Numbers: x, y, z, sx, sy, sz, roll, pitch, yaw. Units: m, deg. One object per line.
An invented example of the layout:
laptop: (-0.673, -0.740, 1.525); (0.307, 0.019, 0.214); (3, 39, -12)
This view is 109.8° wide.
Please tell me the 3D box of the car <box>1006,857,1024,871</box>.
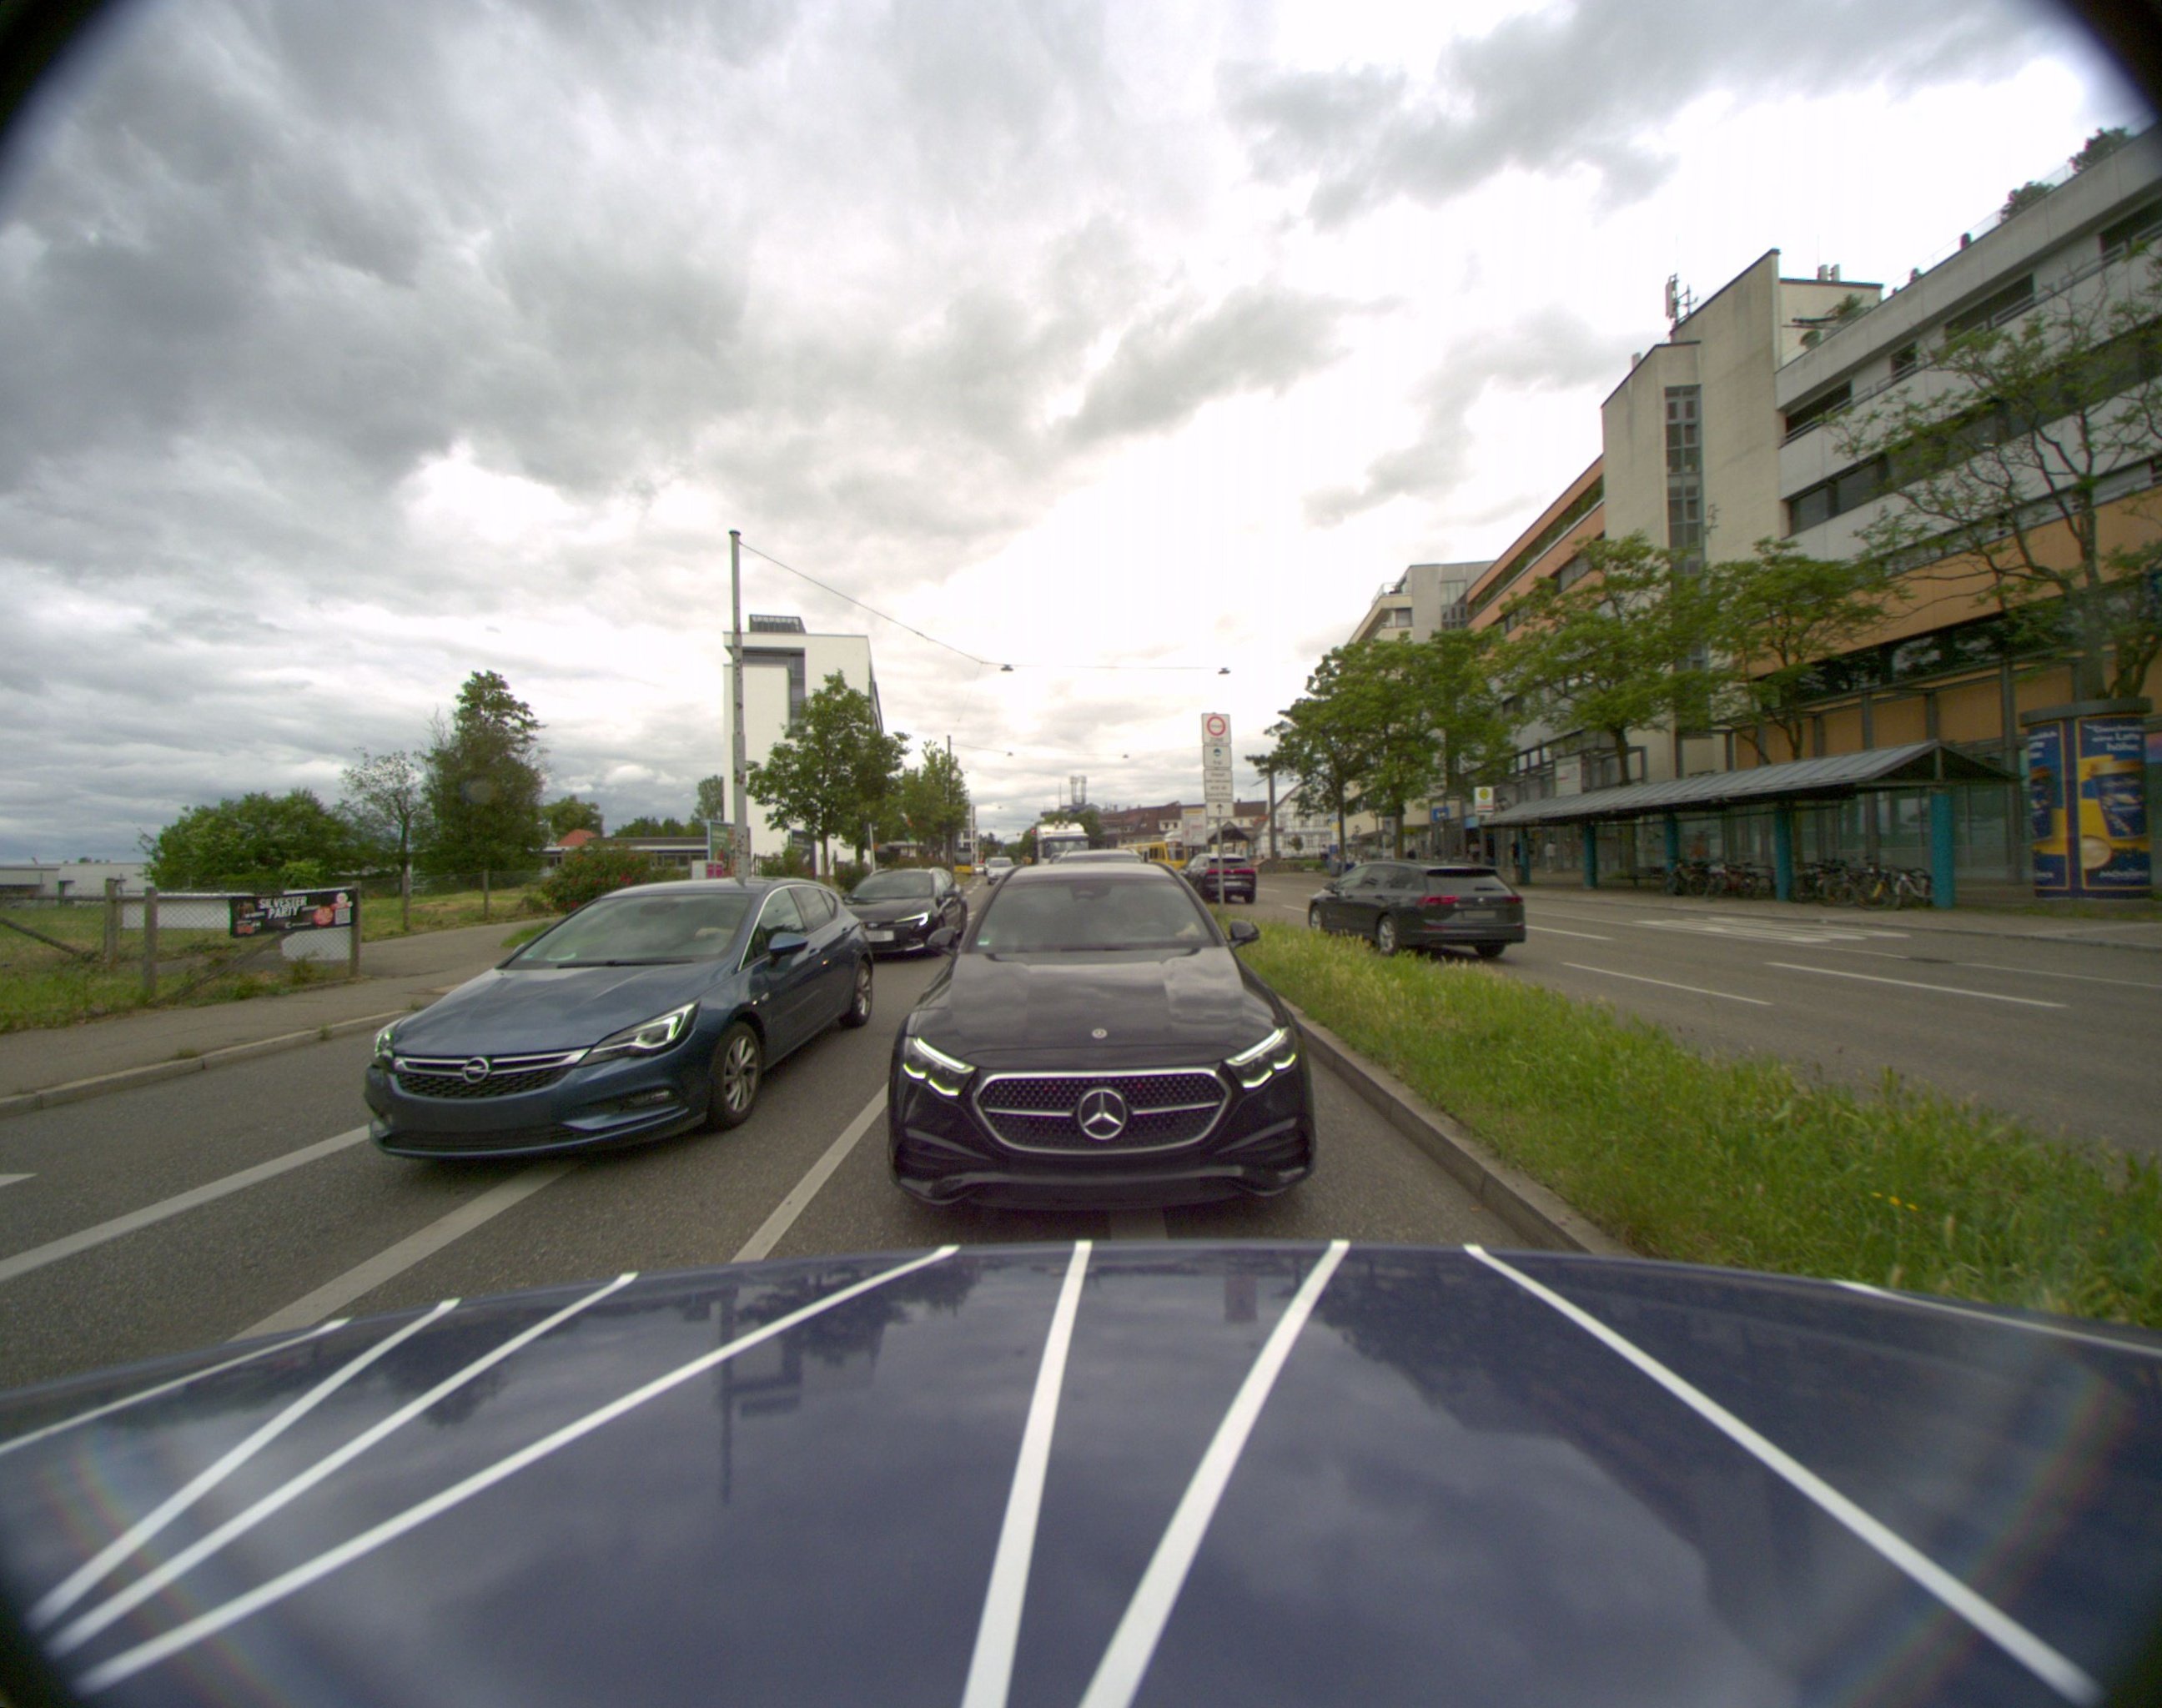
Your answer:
car: (-8.721, 1.260, 100.400); (2.000, 1.674, 3.997); (-4, 1, -8)

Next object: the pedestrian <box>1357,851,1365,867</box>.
pedestrian: (25.571, 0.482, 69.445); (0.555, 1.485, 0.454); (-1, 1, 8)

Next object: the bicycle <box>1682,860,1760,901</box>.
bicycle: (18.290, 0.743, 21.739); (1.735, 1.035, 0.549); (-4, 1, -2)

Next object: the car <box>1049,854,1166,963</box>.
car: (0.399, 0.821, 13.479); (1.734, 1.601, 4.000); (-2, 0, 0)

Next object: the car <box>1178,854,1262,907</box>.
car: (4.443, 0.782, 24.866); (1.840, 1.512, 4.070); (0, 1, -3)

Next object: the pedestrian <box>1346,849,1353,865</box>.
pedestrian: (19.485, 0.225, 55.150); (0.341, 1.172, 0.369); (-1, 1, -9)

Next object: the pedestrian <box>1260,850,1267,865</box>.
pedestrian: (19.255, 0.367, 80.150); (0.577, 1.533, 0.583); (-1, 1, -8)

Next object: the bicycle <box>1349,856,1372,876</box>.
bicycle: (15.487, 0.656, 42.013); (0.593, 1.071, 2.041); (0, 1, 38)

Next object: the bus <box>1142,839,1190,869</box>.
bus: (8.709, 0.007, 79.011); (2.556, 2.966, 8.498); (-1, 0, -11)

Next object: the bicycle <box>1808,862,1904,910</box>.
bicycle: (18.633, 0.752, 18.280); (1.735, 1.035, 0.549); (-3, 1, -2)

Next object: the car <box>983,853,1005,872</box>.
car: (-9.267, 0.897, 80.518); (1.853, 1.875, 4.132); (-3, 0, -11)

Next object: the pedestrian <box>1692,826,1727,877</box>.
pedestrian: (25.245, -0.107, 30.543); (0.710, 2.002, 0.793); (-2, 1, -11)

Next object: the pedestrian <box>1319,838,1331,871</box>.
pedestrian: (16.744, 0.034, 52.100); (0.590, 2.294, 0.608); (-1, 1, -2)

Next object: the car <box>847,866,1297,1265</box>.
car: (-0.046, 0.884, 5.187); (1.793, 1.507, 4.249); (-1, 0, 0)

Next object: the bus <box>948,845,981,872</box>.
bus: (-12.806, 0.394, 82.724); (2.969, 2.616, 12.137); (-2, 1, -11)

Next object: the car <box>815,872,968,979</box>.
car: (-3.117, 1.113, 13.299); (1.665, 1.448, 3.921); (-2, 0, 0)

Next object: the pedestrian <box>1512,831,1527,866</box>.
pedestrian: (25.944, -0.319, 44.918); (0.566, 2.002, 0.611); (-1, 1, 6)

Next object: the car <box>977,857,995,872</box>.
car: (-12.179, 1.278, 97.452); (2.000, 1.811, 3.996); (-1, 0, -10)

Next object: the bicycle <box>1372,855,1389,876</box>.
bicycle: (16.410, 0.623, 41.642); (0.593, 1.071, 2.041); (0, 1, 29)

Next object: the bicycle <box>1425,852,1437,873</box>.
bicycle: (19.495, 0.470, 42.381); (0.593, 1.119, 2.040); (0, 1, 24)

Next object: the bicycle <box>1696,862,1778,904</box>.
bicycle: (17.955, 0.790, 20.806); (1.735, 1.035, 0.549); (-3, 1, -2)

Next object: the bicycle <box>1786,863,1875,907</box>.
bicycle: (19.032, 0.774, 19.304); (1.735, 1.035, 0.549); (-2, 1, -2)

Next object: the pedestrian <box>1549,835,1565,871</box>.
pedestrian: (24.107, -0.047, 38.484); (0.648, 1.799, 0.761); (0, 1, 34)

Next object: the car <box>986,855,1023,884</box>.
car: (-4.703, 0.916, 47.193); (1.851, 1.606, 3.783); (-3, 0, 0)

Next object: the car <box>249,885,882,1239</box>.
car: (-2.907, 1.050, 5.524); (1.826, 1.402, 4.000); (-2, 0, 0)

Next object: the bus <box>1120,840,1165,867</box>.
bus: (6.945, -0.049, 87.947); (2.556, 2.966, 9.790); (-1, 0, -11)

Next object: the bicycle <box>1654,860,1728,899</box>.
bicycle: (18.212, 0.748, 22.699); (1.735, 1.035, 0.549); (-3, 1, -2)

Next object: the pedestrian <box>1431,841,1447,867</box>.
pedestrian: (24.182, -0.003, 51.343); (0.765, 1.673, 0.752); (-1, 1, 1)

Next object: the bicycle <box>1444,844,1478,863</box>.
bicycle: (27.765, -0.026, 55.547); (2.138, 1.358, 0.620); (-2, 1, 26)

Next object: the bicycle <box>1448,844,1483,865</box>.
bicycle: (27.002, 0.032, 53.396); (2.139, 1.367, 0.620); (-2, 1, 18)

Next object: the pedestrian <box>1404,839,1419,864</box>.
pedestrian: (24.446, -0.172, 56.176); (0.765, 1.835, 0.752); (-1, 1, 1)

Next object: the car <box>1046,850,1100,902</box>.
car: (-0.359, 0.745, 28.342); (1.865, 1.773, 3.999); (-1, 0, -2)

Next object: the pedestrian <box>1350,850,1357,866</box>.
pedestrian: (24.987, 0.340, 69.676); (0.555, 1.485, 0.454); (-1, 1, 8)

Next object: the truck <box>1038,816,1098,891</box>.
truck: (-0.759, -0.041, 36.721); (2.490, 3.258, 7.428); (-1, 0, -4)

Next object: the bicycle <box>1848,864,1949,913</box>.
bicycle: (18.692, 0.784, 17.394); (1.735, 1.035, 0.549); (-2, 1, -2)

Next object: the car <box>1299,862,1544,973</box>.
car: (5.177, 0.869, 12.289); (1.714, 1.472, 4.286); (0, -1, -6)

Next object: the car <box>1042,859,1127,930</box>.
car: (0.052, 0.912, 18.906); (1.865, 1.520, 3.999); (-1, 0, -1)

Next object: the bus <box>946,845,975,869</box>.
bus: (-15.211, 0.350, 95.048); (2.969, 2.616, 12.911); (-2, 1, -11)
